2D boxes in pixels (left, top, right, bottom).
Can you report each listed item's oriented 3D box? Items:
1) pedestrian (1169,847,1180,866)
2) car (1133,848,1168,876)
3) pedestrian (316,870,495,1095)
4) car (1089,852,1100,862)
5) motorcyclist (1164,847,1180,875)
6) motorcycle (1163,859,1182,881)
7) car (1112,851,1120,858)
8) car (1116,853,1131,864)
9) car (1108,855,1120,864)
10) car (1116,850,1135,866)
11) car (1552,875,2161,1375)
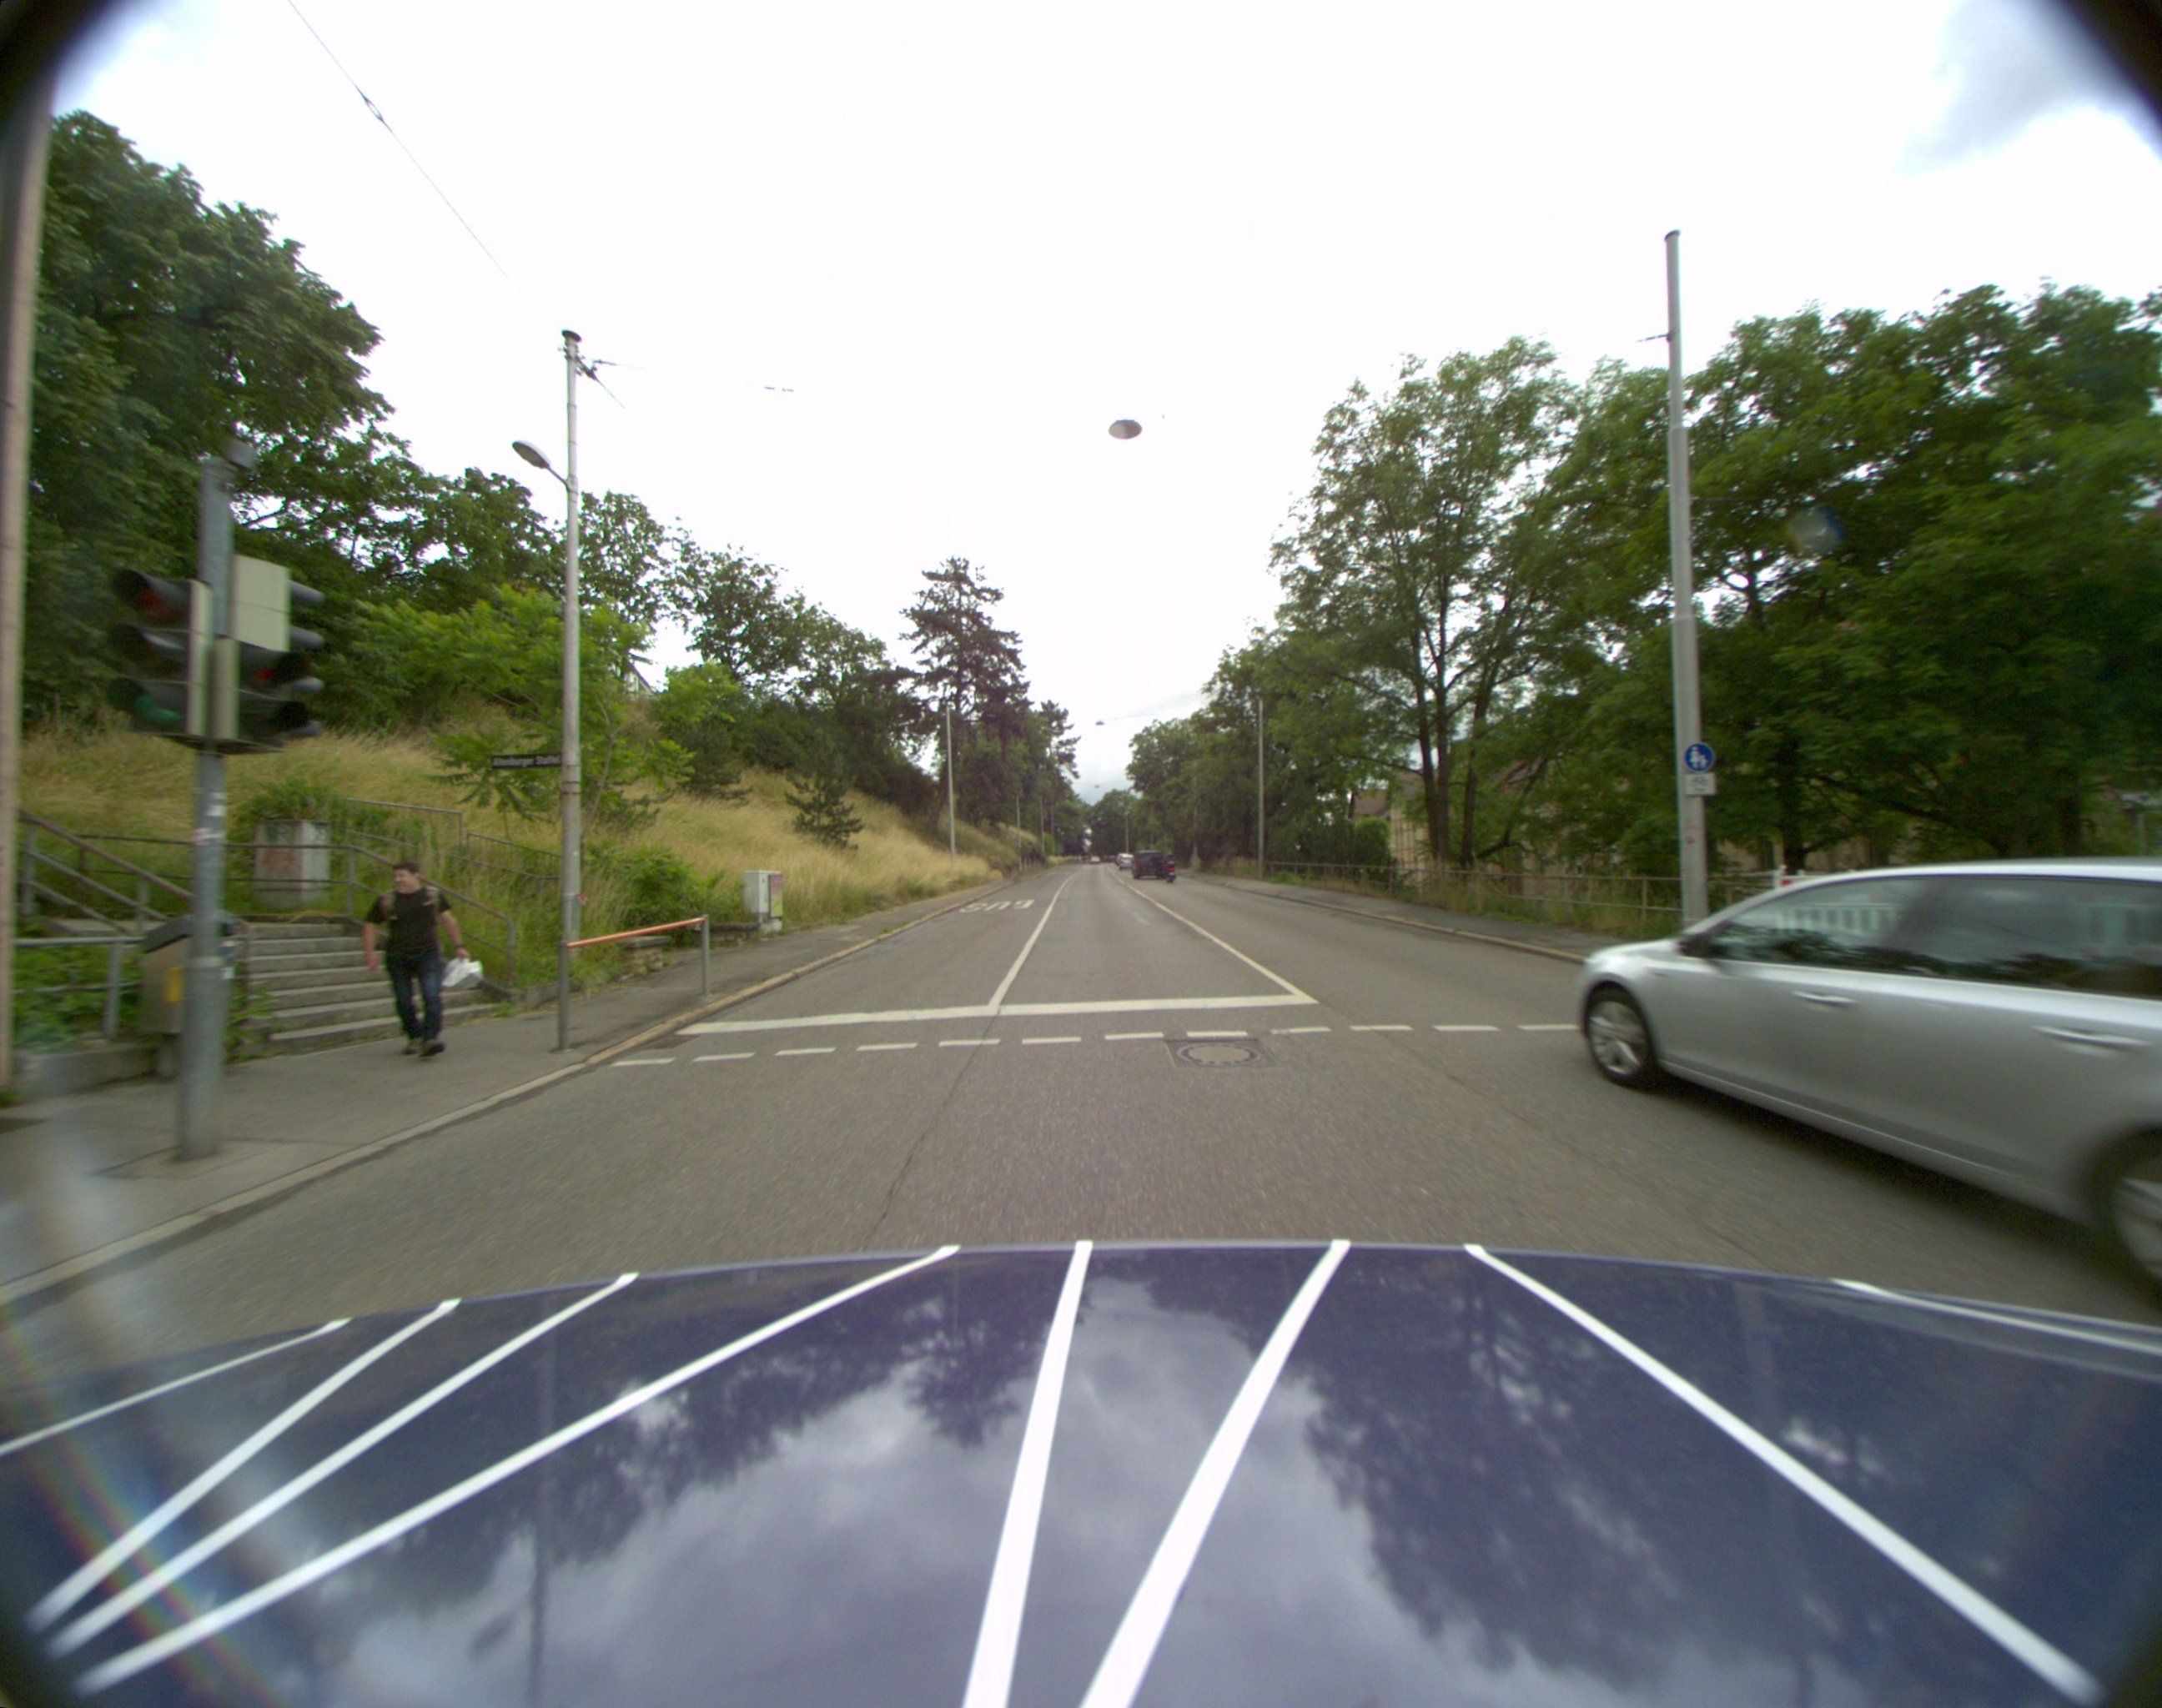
[{"bbox_3d":[9.123,0.231,74.332,0.790,1.764,1.209,-5,0,-1],"label":"pedestrian"},{"bbox_3d":[4.456,0.494,48.954,1.788,1.736,4.428,-1,0,-1],"label":"car"},{"bbox_3d":[-5.714,1.007,6.442,0.887,1.686,0.875,3,0,34],"label":"pedestrian"},{"bbox_3d":[2.322,0.518,132.451,1.788,1.565,4.281,-1,0,1],"label":"car"},{"bbox_3d":[4.967,0.398,41.302,0.787,1.507,0.668,-1,0,0],"label":"motorcyclist"},{"bbox_3d":[4.972,0.837,41.332,0.787,1.139,2.057,-1,0,1],"label":"motorcycle"},{"bbox_3d":[7.162,0.099,155.591,1.673,1.439,3.688,0,0,2],"label":"car"},{"bbox_3d":[6.189,0.655,110.633,2.000,1.673,4.664,-1,0,1],"label":"car"},{"bbox_3d":[5.504,0.968,127.152,1.717,1.419,4.139,-1,0,0],"label":"car"},{"bbox_3d":[4.722,0.417,81.500,1.788,1.565,4.281,-1,0,1],"label":"car"},{"bbox_3d":[4.174,0.871,3.293,1.725,1.436,4.159,0,0,1],"label":"car"}]
